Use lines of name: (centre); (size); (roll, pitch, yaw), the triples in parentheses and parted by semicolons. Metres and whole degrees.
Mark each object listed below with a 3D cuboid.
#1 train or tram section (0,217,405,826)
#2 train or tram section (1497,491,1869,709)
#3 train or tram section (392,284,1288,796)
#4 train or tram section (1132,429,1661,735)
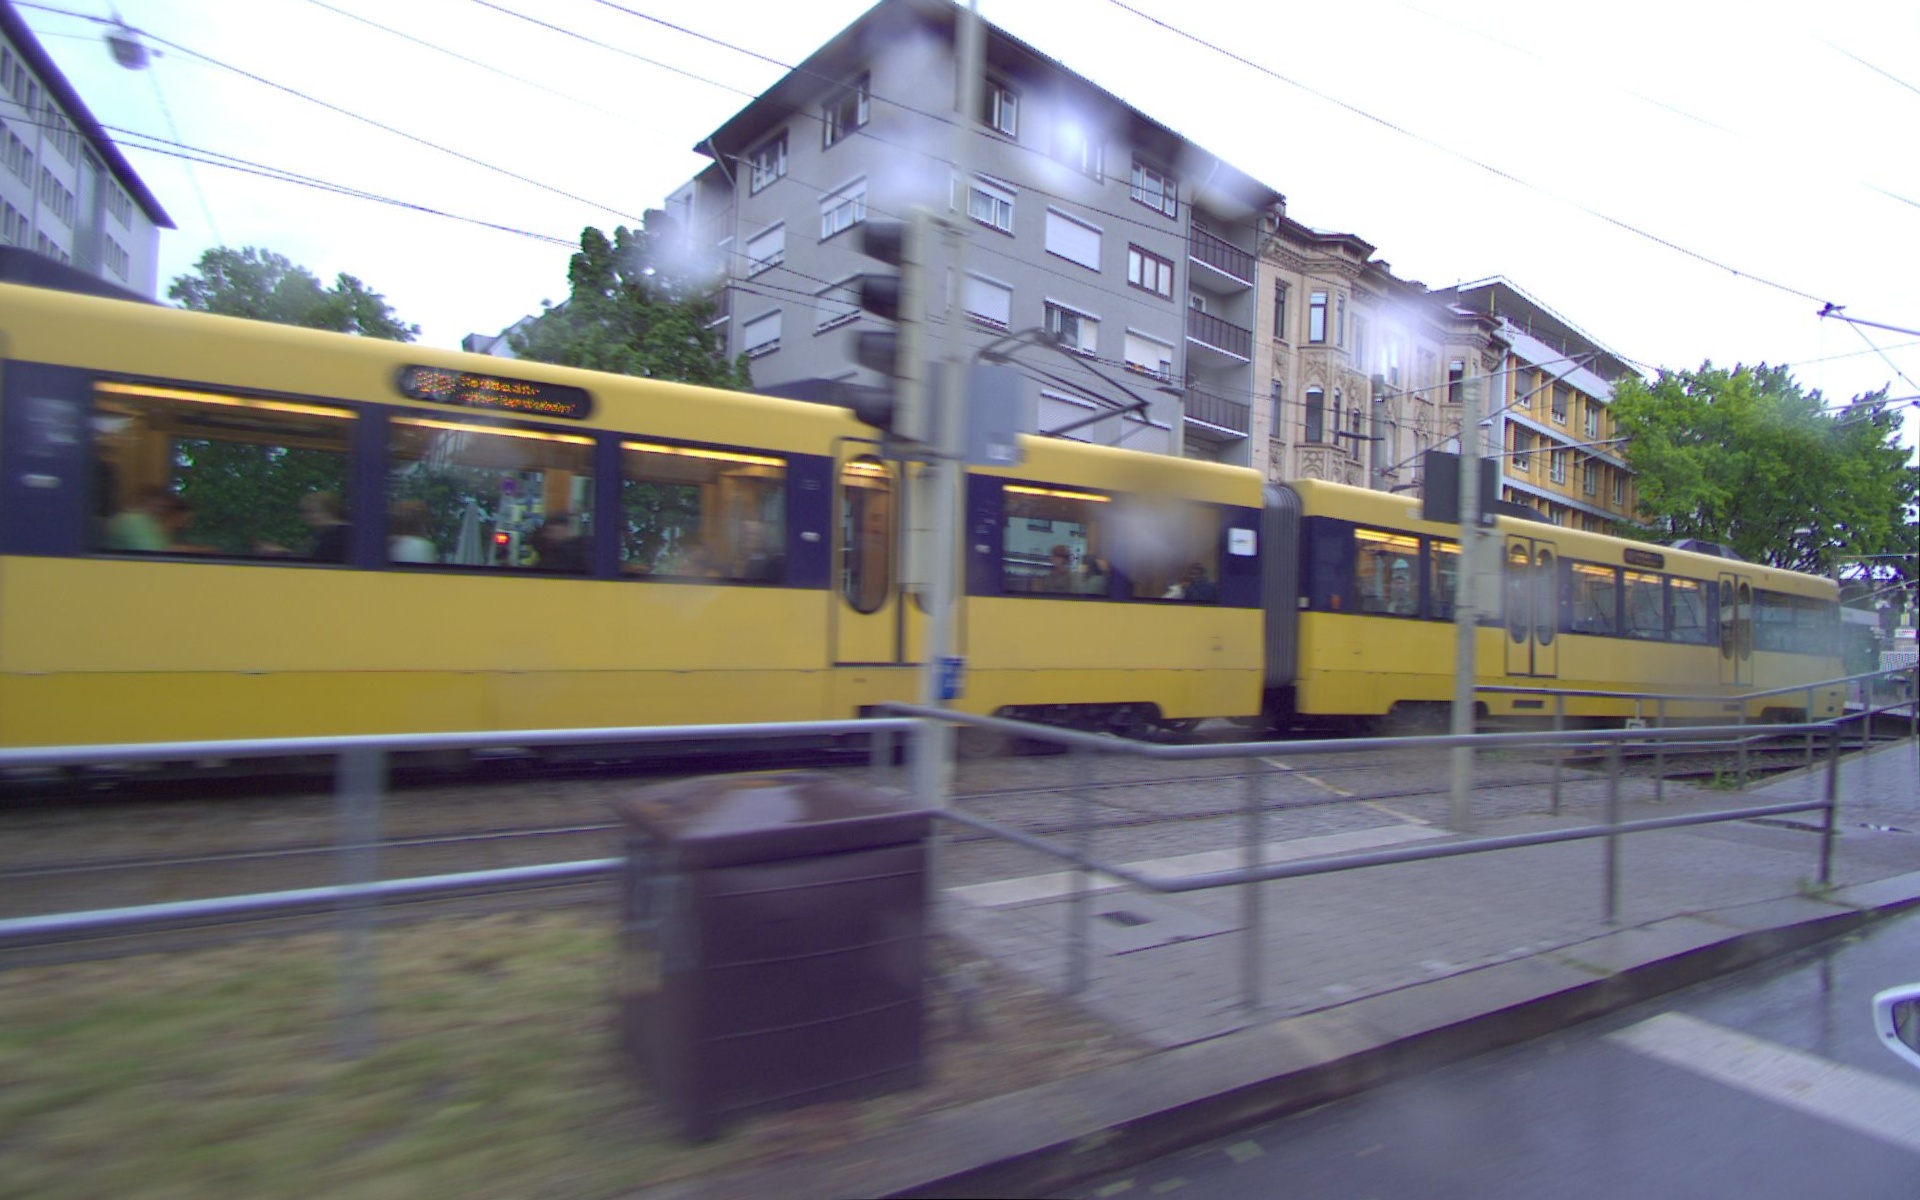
train or tram section: (-8.553, -0.546, 6.170); (8.873, 3.741, 2.764); (2, 0, -31)
train or tram section: (15.345, 0.102, 20.971); (9.604, 3.741, 2.764); (2, 0, -31)
train or tram section: (-0.746, -0.334, 10.979); (9.402, 3.741, 2.764); (2, 0, -31)
train or tram section: (7.267, -0.116, 15.954); (9.402, 3.741, 2.764); (2, 0, -31)
